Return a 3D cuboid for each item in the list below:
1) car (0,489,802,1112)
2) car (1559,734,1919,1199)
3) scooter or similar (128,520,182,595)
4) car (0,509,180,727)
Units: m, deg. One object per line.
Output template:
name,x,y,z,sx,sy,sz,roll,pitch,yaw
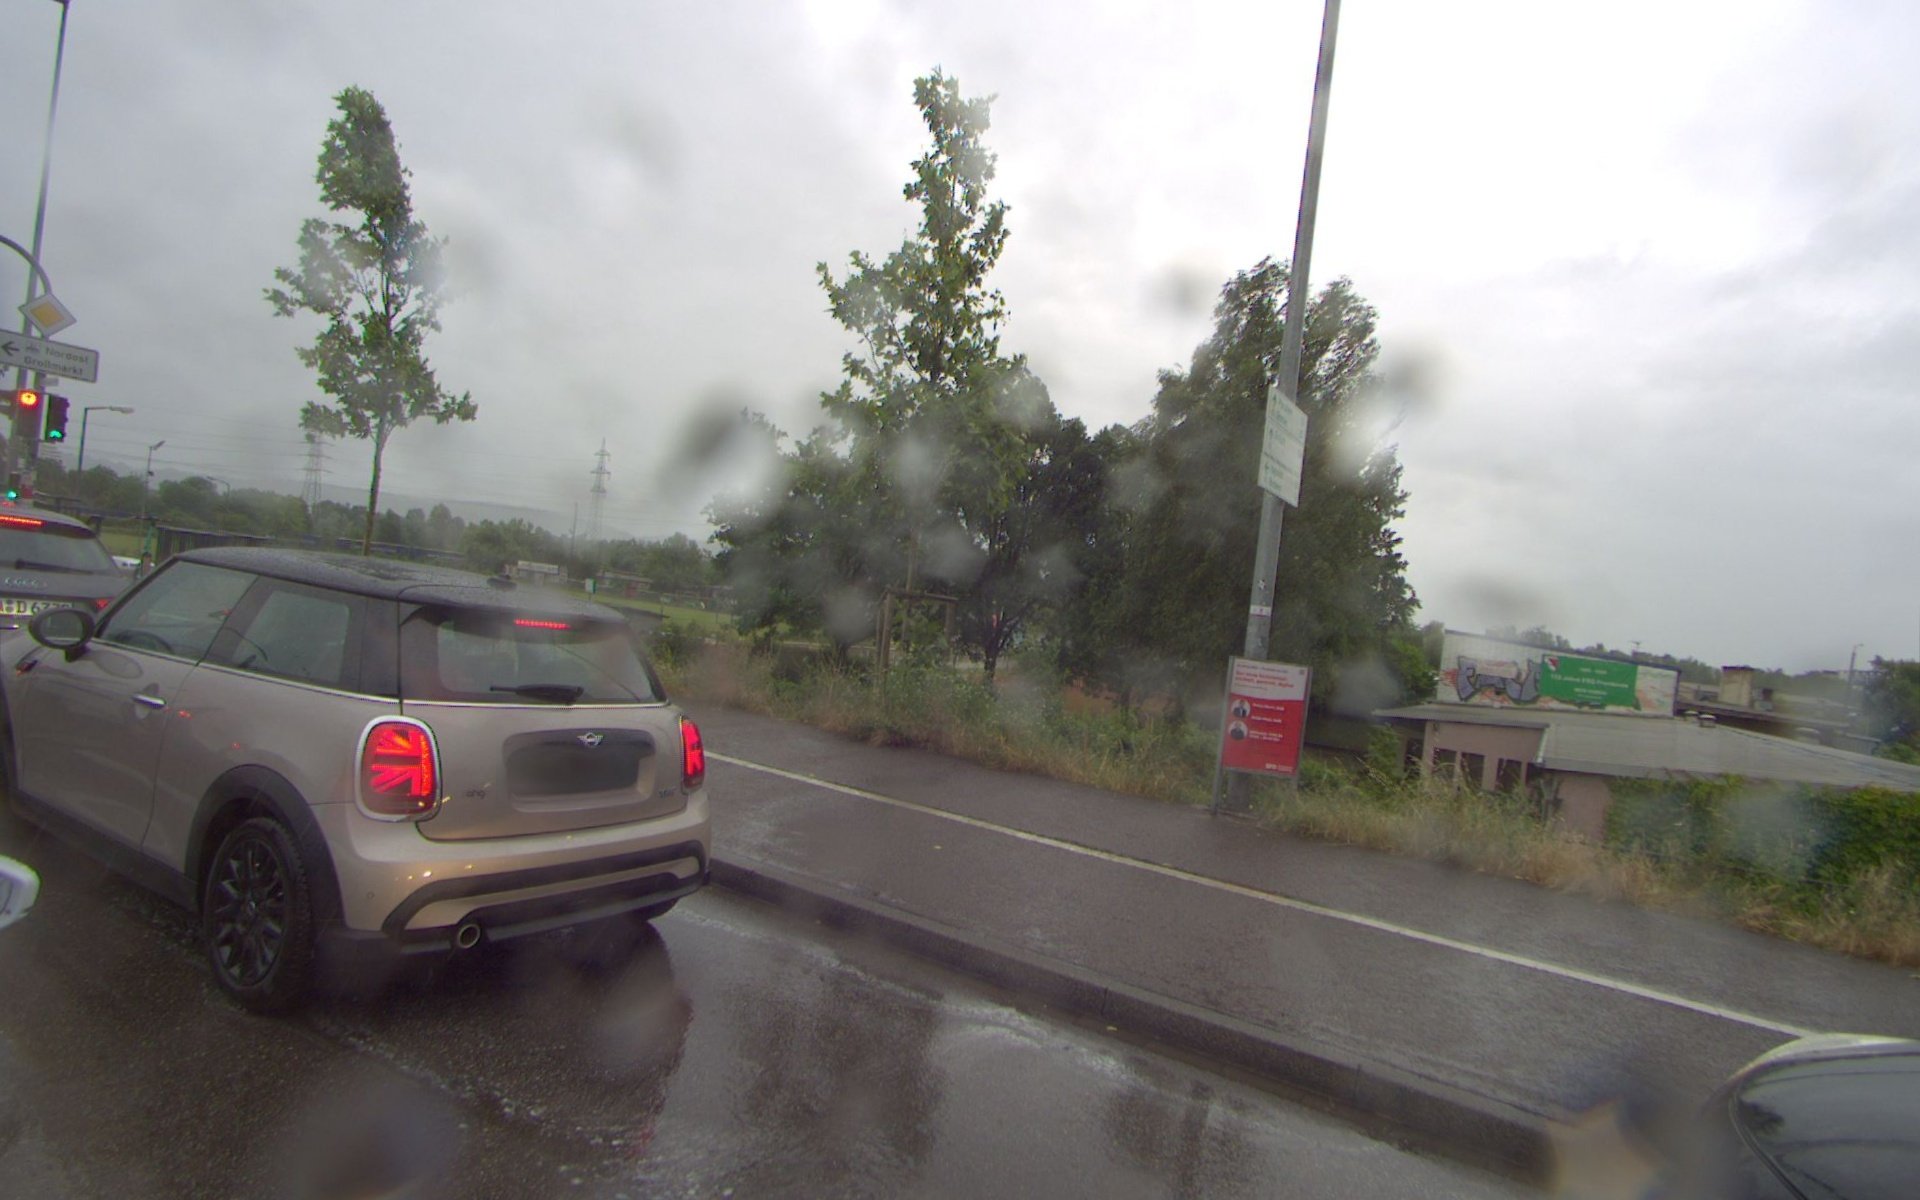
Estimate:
car,-2.693,0.496,4.312,3.563,1.525,1.717,7,-2,31
car,2.772,1.185,1.050,3.563,1.445,1.632,7,-1,31
scooter or similar,-13.611,-0.727,17.000,1.167,1.171,0.246,6,-1,33
car,-7.476,-0.045,7.251,3.563,1.360,1.632,6,-2,31
